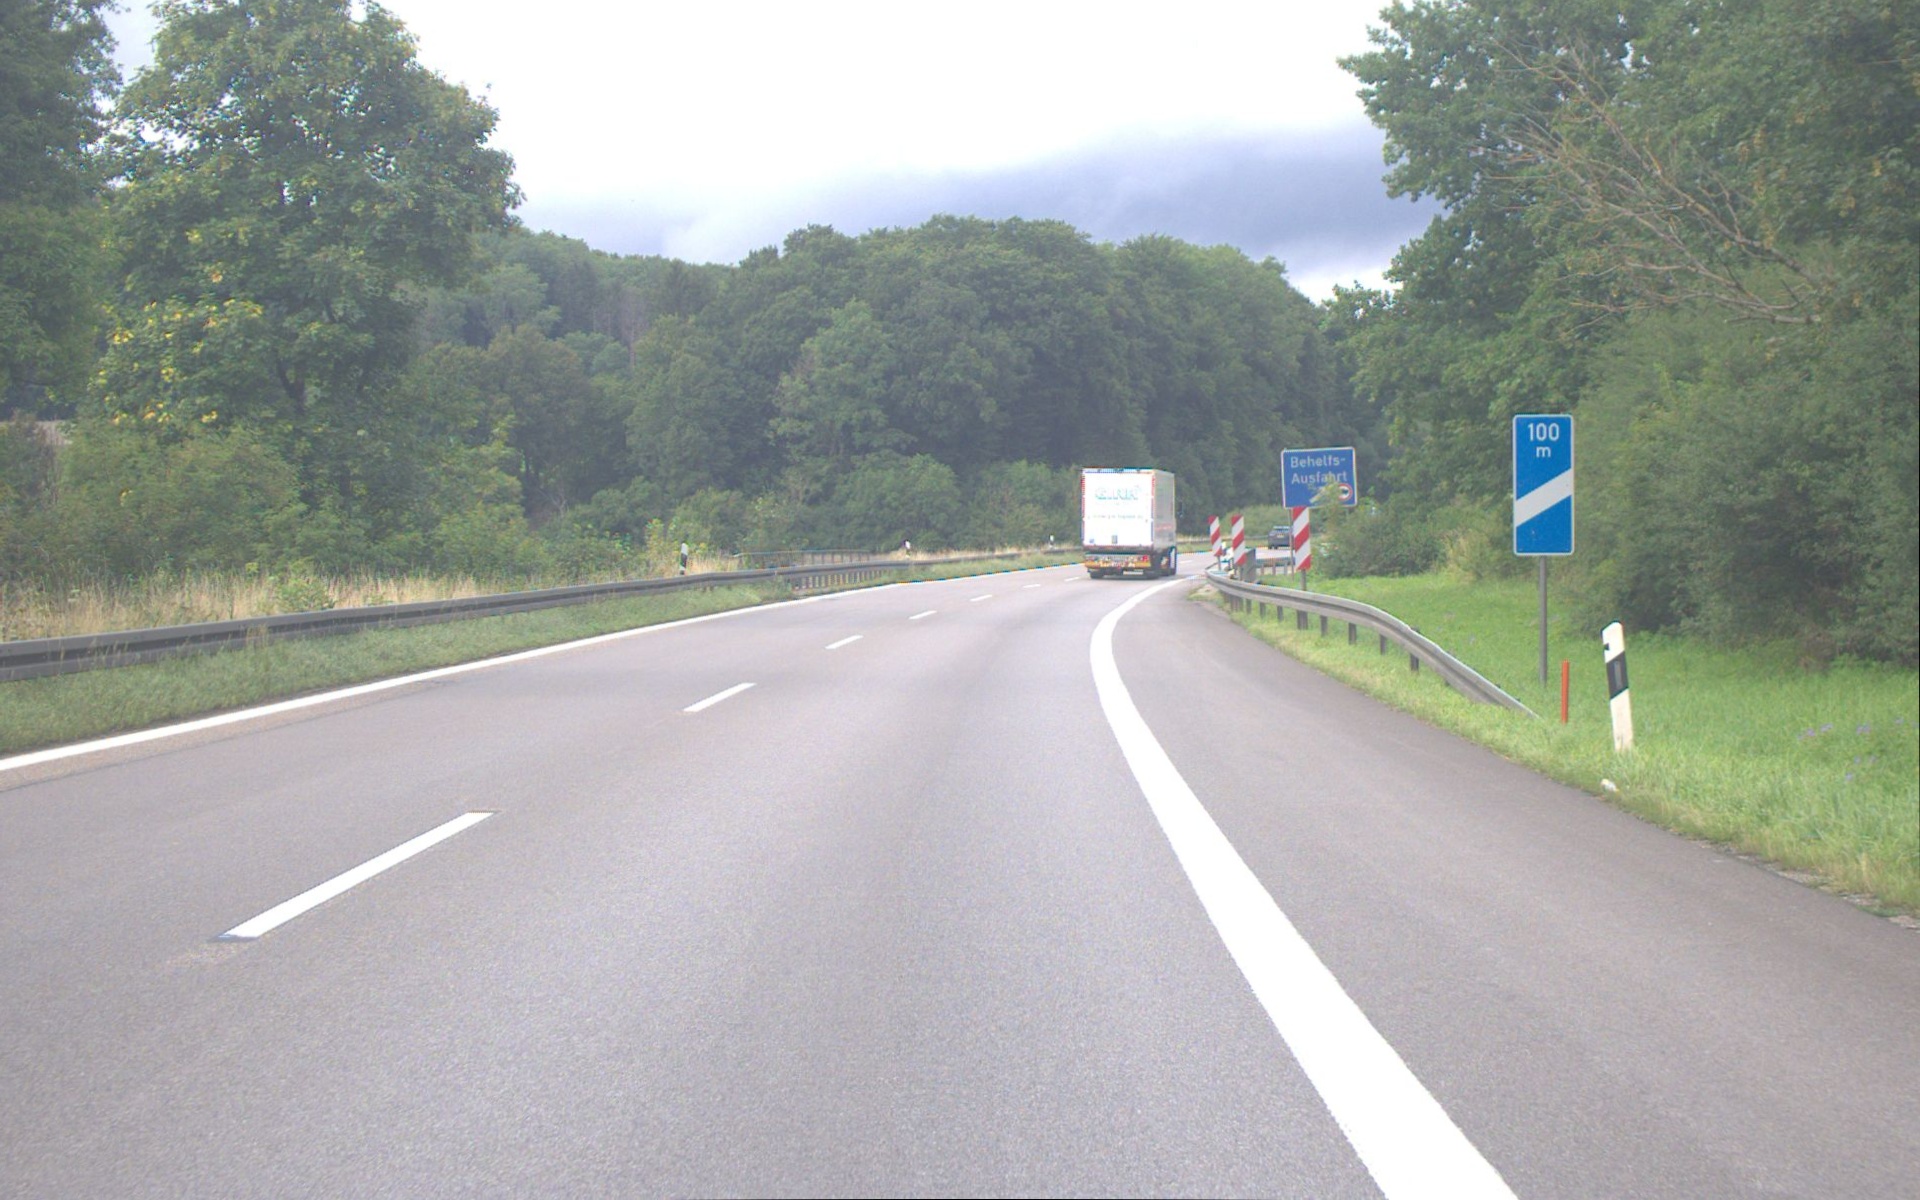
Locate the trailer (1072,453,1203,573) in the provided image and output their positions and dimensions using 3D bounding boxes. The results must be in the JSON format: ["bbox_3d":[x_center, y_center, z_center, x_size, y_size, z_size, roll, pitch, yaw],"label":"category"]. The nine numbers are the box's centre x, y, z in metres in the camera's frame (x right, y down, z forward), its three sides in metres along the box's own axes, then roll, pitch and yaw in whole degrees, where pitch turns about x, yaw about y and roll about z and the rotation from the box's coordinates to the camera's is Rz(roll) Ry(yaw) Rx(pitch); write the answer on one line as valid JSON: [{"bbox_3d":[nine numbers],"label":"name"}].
[{"bbox_3d":[6.773,-3.209,128.646,3.806,4.160,14.805,-1,1,7],"label":"trailer"}]

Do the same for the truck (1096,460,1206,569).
[{"bbox_3d":[7.581,-3.321,135.472,3.788,4.118,8.263,-1,1,7],"label":"truck"}]

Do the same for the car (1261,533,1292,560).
[{"bbox_3d":[21.768,-3.667,236.044,1.903,1.789,3.999,1,0,8],"label":"car"}]
